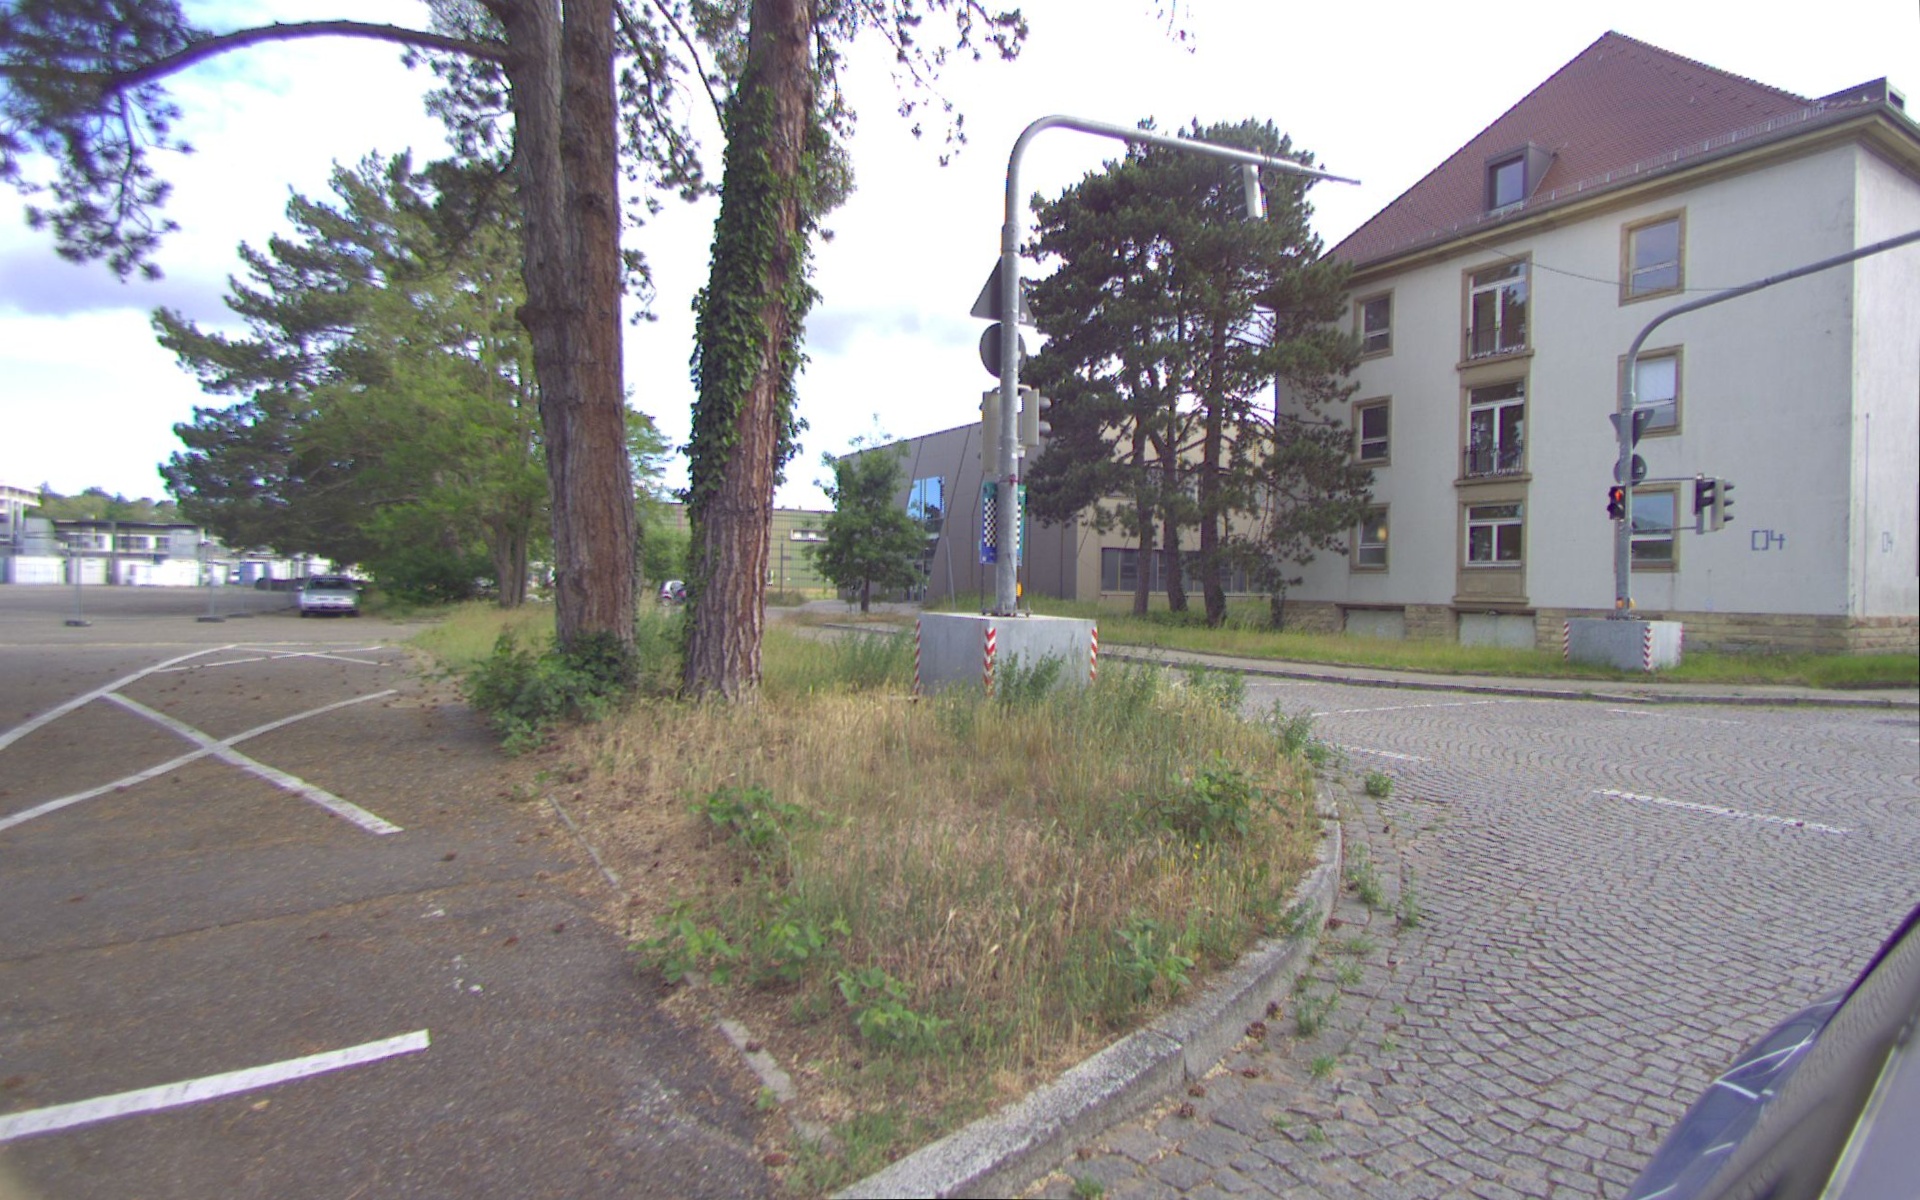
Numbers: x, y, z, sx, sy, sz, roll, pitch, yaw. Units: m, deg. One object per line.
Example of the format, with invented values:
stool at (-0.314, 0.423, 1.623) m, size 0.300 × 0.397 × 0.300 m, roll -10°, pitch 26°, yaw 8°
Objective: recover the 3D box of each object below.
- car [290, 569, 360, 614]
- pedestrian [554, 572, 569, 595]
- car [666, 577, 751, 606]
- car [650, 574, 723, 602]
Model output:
car at (-22.256, -0.326, 35.419) m, size 1.829 × 1.492 × 4.151 m, roll 1°, pitch 1°, yaw -35°
pedestrian at (-30.214, -1.262, 76.684) m, size 0.859 × 1.745 × 1.007 m, roll 0°, pitch 1°, yaw -35°
car at (-14.292, -0.510, 57.529) m, size 4.334 × 1.481 × 1.839 m, roll -3°, pitch 3°, yaw -34°
car at (-17.392, -0.803, 64.353) m, size 4.116 × 1.606 × 1.839 m, roll -3°, pitch 3°, yaw -34°
